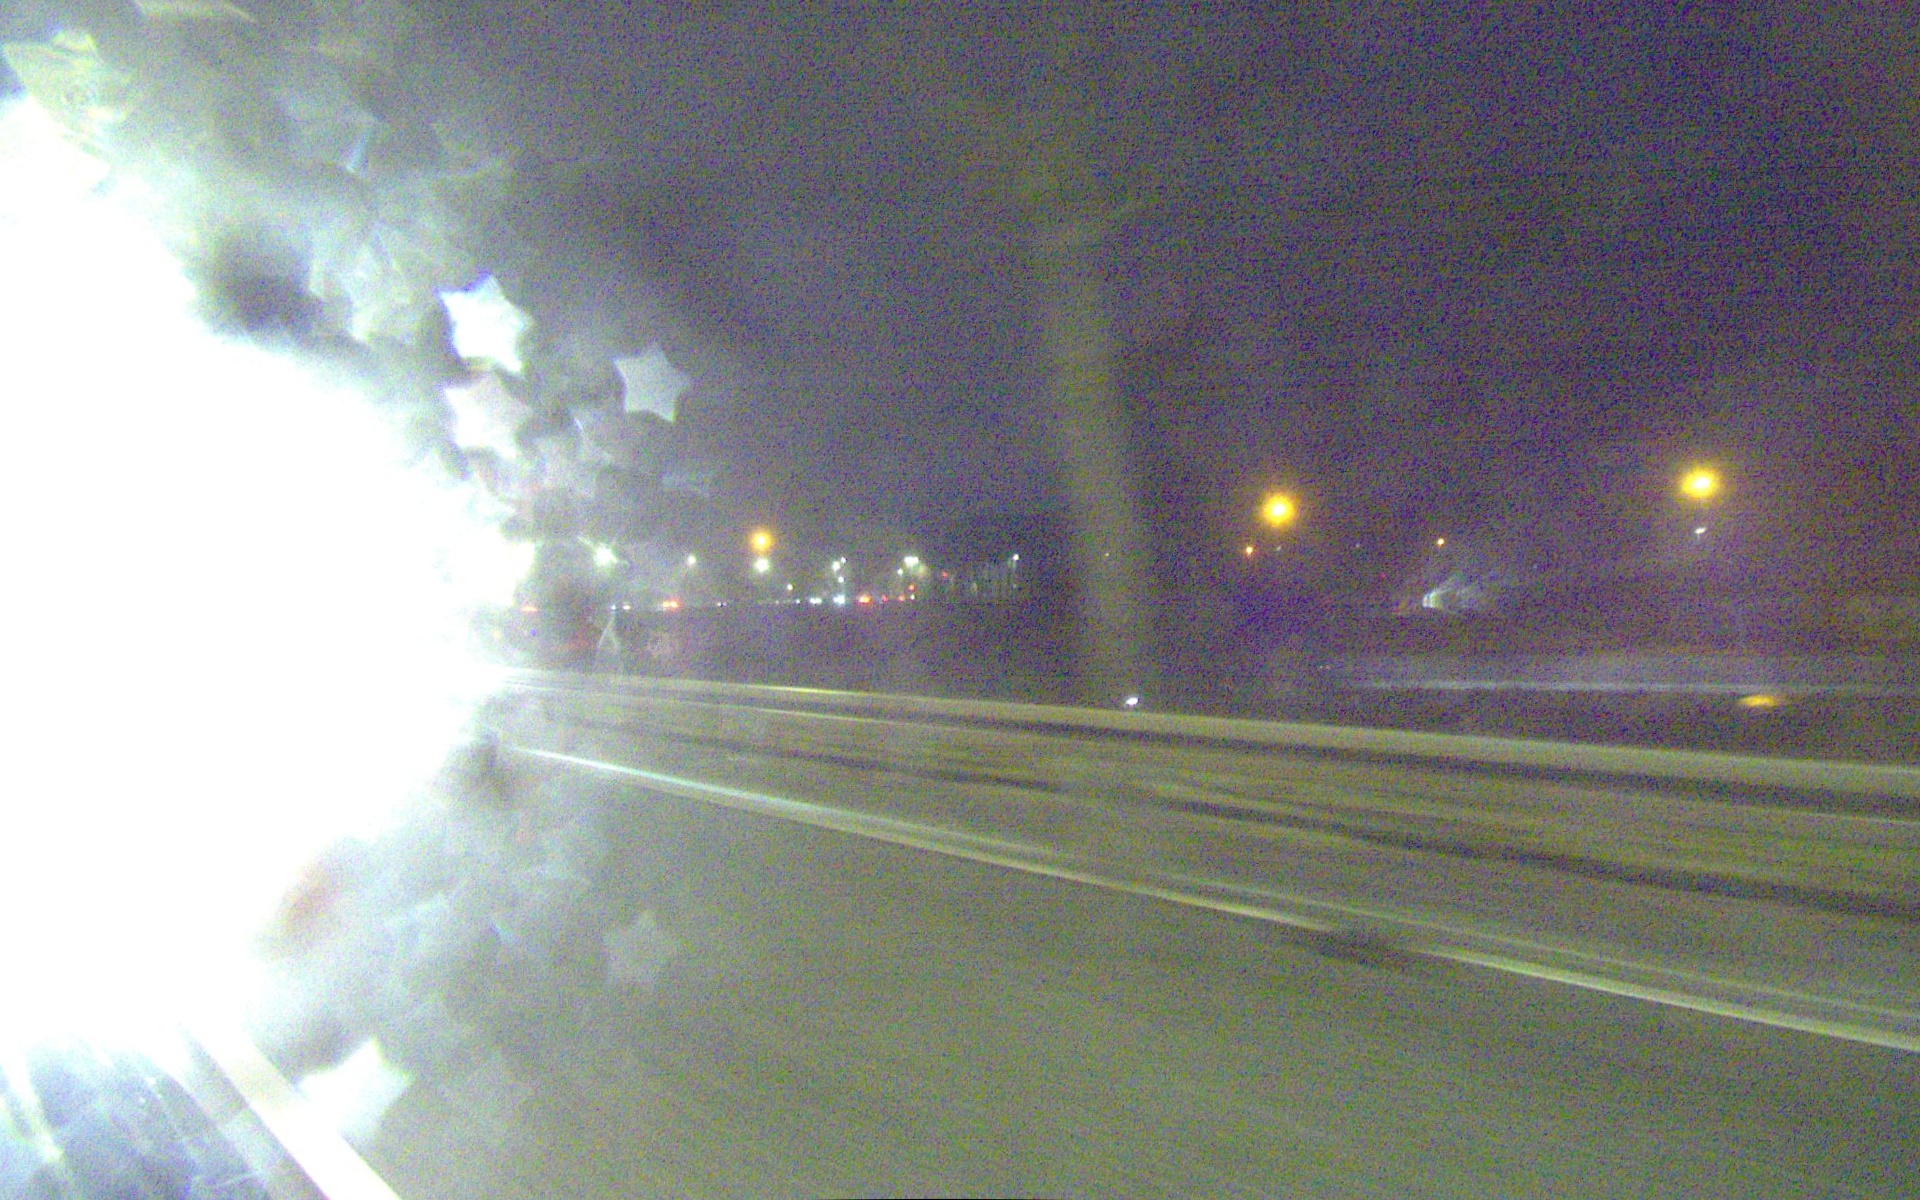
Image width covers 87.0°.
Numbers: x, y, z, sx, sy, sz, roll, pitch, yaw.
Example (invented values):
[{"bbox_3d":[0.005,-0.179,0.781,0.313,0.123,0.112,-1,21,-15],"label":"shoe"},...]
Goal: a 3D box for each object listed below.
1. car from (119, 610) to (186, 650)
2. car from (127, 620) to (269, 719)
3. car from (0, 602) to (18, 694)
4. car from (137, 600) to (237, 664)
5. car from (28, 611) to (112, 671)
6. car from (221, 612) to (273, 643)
[{"bbox_3d":[-41.276,1.521,51.803,1.966,1.949,4.013,-1,-1,-28],"label":"car"},{"bbox_3d":[-12.691,1.059,16.794,1.707,1.415,3.870,0,-1,-39],"label":"car"},{"bbox_3d":[-21.005,1.013,20.896,1.907,1.887,4.008,-1,-1,-38],"label":"car"},{"bbox_3d":[-26.802,1.066,35.268,2.416,2.003,5.508,-1,0,-34],"label":"car"},{"bbox_3d":[-31.310,1.417,35.705,1.968,1.949,4.008,-1,-1,-38],"label":"car"},{"bbox_3d":[-46.916,1.805,66.676,1.965,1.949,4.013,-1,-1,-23],"label":"car"}]
